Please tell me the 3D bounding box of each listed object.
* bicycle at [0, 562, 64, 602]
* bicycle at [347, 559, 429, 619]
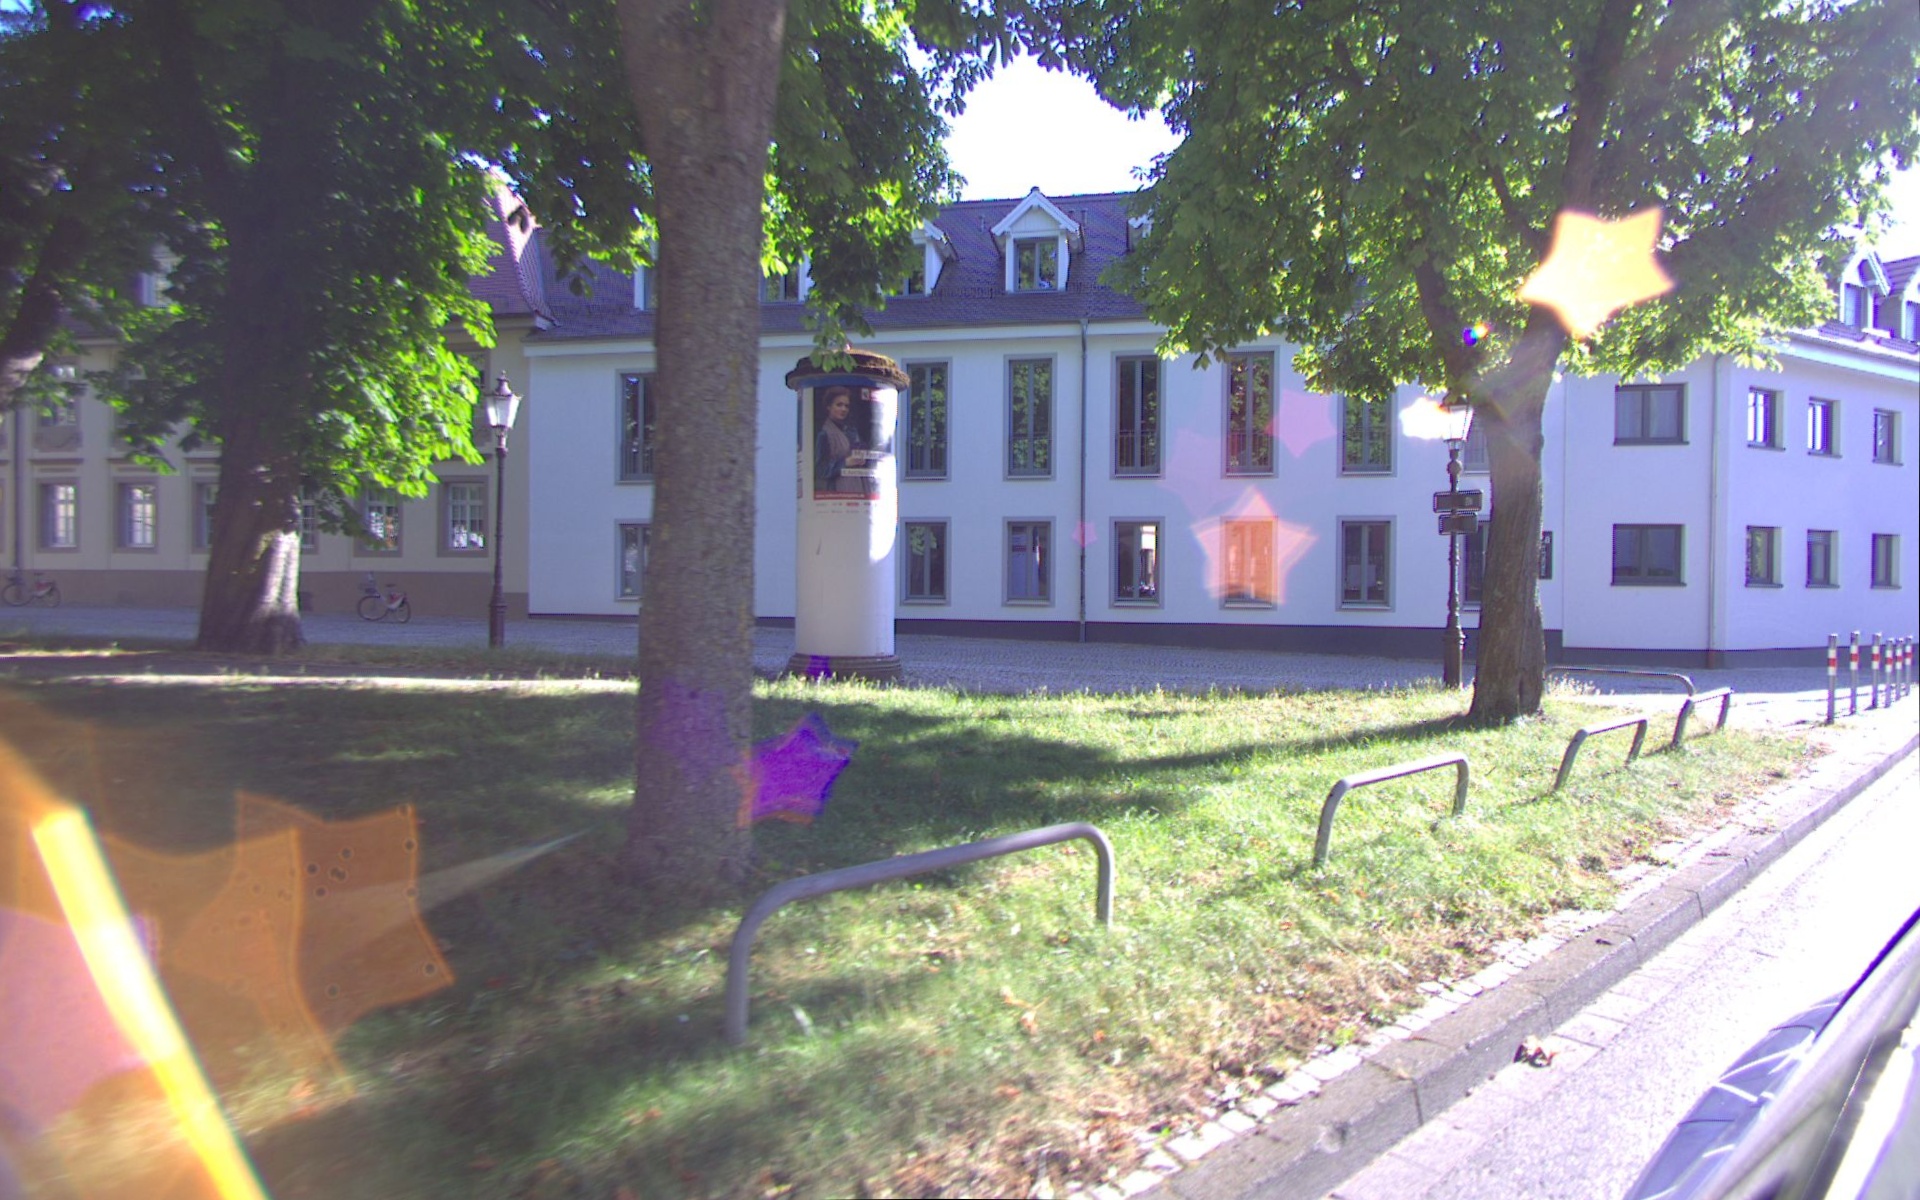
[{"bbox_3d":[-23.975,-0.467,26.130,1.739,0.970,0.512,2,2,21],"label":"bicycle"},{"bbox_3d":[-13.264,-0.272,23.472,1.742,1.334,0.717,2,1,21],"label":"bicycle"}]
